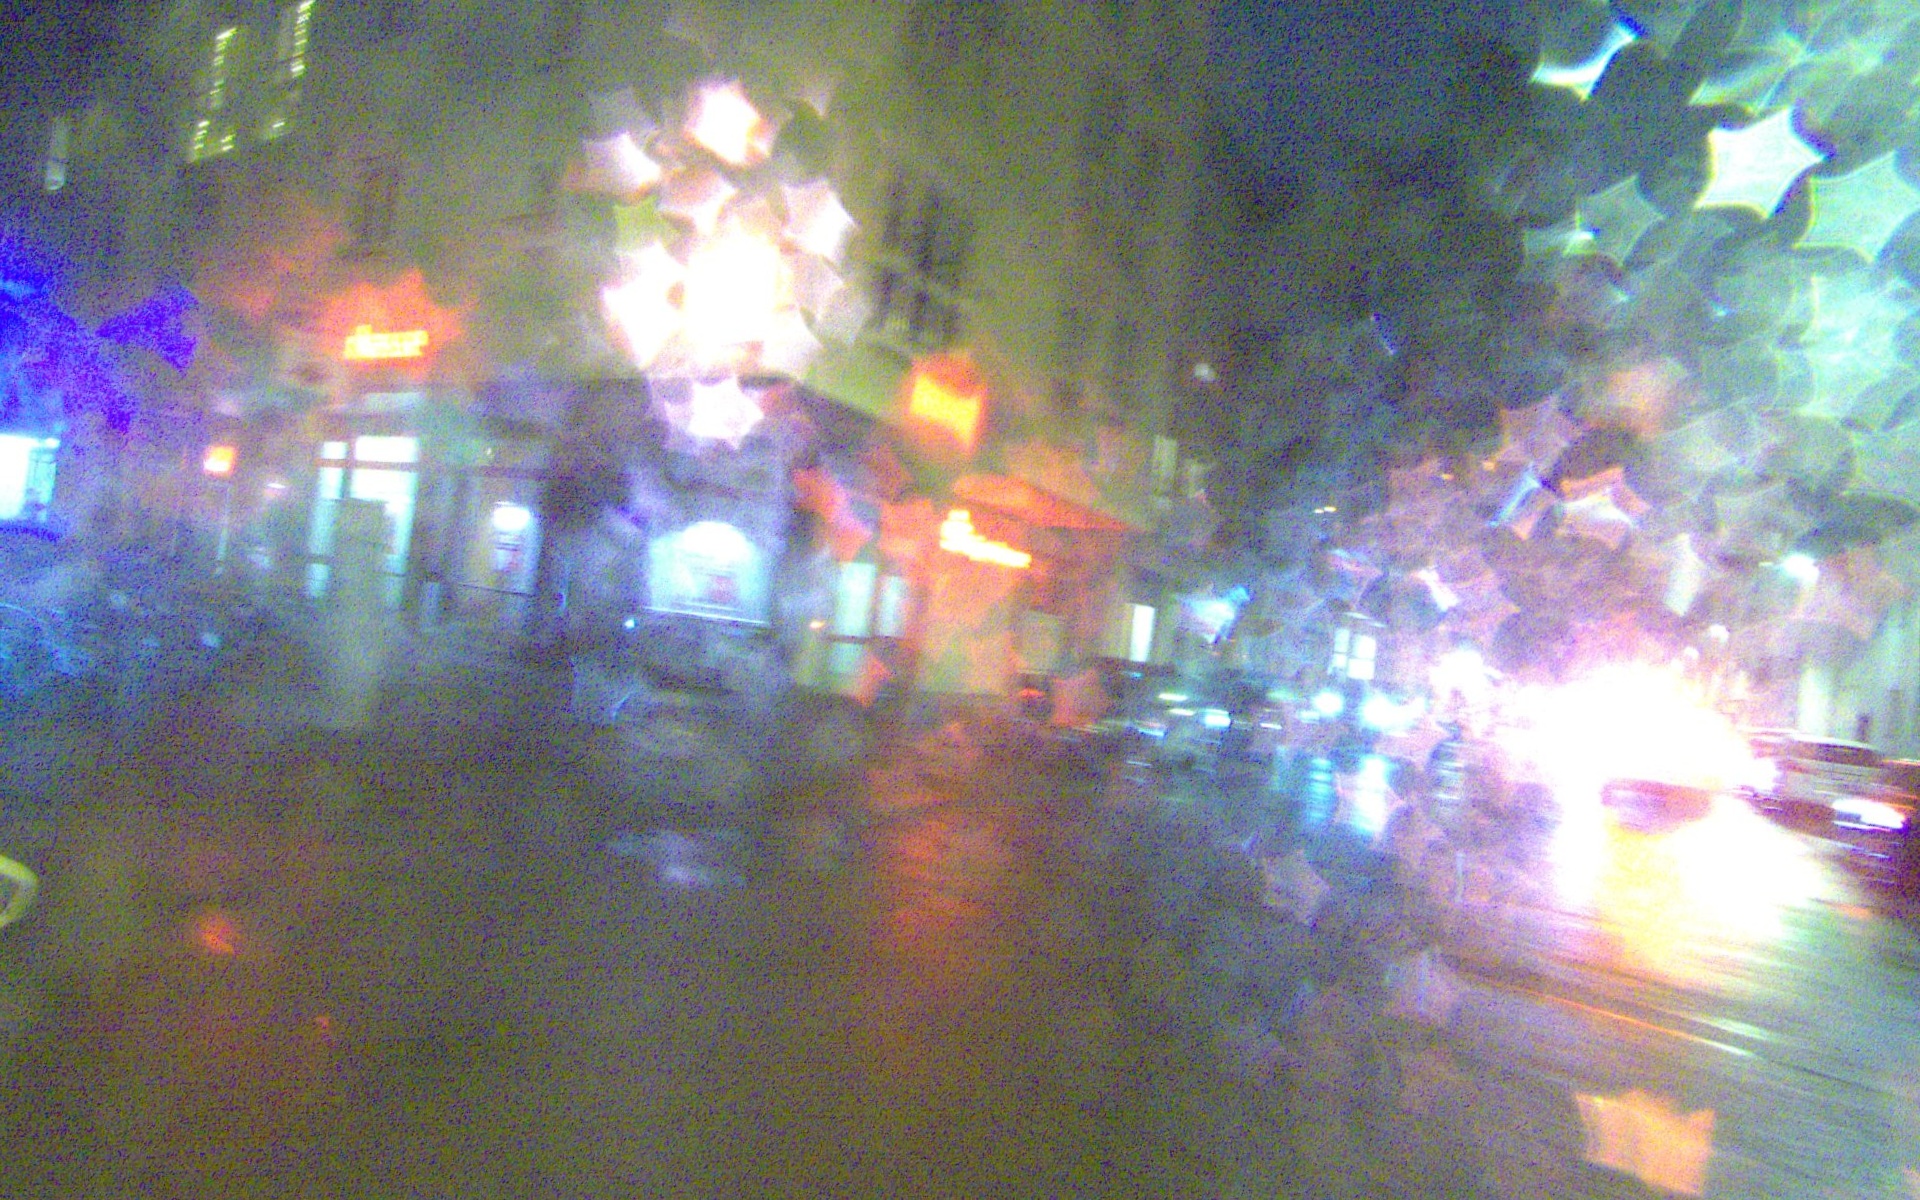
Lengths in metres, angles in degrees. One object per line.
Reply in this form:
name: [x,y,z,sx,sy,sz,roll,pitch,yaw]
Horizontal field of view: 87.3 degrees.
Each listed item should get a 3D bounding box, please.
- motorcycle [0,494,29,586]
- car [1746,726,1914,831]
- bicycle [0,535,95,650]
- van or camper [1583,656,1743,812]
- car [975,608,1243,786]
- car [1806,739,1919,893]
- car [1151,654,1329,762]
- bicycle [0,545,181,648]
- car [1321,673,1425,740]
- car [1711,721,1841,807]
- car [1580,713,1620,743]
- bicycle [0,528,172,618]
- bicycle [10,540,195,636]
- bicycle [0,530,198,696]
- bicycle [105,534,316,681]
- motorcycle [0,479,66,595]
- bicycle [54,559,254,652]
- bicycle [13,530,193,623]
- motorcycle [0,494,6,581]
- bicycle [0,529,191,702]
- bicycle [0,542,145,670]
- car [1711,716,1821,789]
motorcycle: [-14.817,-0.927,14.295,0.852,1.336,2.172,7,3,31]
car: [17.562,3.537,20.516,1.812,1.621,4.154,7,-2,32]
bicycle: [-9.006,-0.075,9.269,0.360,1.038,1.526,7,5,35]
van or camper: [13.806,2.657,19.926,2.085,2.424,5.326,6,-4,34]
car: [2.141,1.305,13.330,1.812,1.790,4.154,7,-2,32]
car: [11.490,2.550,11.610,1.967,1.524,3.997,6,-4,33]
car: [5.084,1.933,17.859,1.812,1.450,4.154,7,-2,32]
bicycle: [-8.927,-0.042,10.248,0.360,0.966,1.526,7,5,35]
car: [11.328,2.933,27.440,1.812,1.450,4.154,7,-2,32]
car: [19.825,3.946,24.623,1.812,1.621,4.154,7,-2,32]
car: [41.846,8.402,65.815,1.967,1.552,3.997,7,-4,32]
bicycle: [-10.156,-0.320,11.710,0.360,0.966,1.528,6,4,28]
bicycle: [-9.367,-0.145,11.057,0.360,0.966,1.528,6,4,28]
bicycle: [-7.001,0.085,7.960,0.360,1.219,1.527,6,5,30]
bicycle: [-6.793,0.048,9.199,0.360,1.219,1.527,6,5,30]
motorcycle: [-13.680,-0.914,13.623,0.852,1.568,2.172,7,3,31]
bicycle: [-8.007,0.044,10.062,0.320,0.846,1.526,7,5,35]
bicycle: [-9.664,-0.272,11.411,0.360,0.966,1.529,6,4,27]
motorcycle: [-15.605,-1.009,14.758,0.852,1.336,2.172,7,3,31]
bicycle: [-6.741,0.099,7.533,0.360,1.219,1.526,7,5,34]
bicycle: [-7.938,0.042,8.564,0.360,1.038,1.527,6,4,30]
car: [22.892,4.306,28.734,1.812,1.621,4.154,7,-2,32]
